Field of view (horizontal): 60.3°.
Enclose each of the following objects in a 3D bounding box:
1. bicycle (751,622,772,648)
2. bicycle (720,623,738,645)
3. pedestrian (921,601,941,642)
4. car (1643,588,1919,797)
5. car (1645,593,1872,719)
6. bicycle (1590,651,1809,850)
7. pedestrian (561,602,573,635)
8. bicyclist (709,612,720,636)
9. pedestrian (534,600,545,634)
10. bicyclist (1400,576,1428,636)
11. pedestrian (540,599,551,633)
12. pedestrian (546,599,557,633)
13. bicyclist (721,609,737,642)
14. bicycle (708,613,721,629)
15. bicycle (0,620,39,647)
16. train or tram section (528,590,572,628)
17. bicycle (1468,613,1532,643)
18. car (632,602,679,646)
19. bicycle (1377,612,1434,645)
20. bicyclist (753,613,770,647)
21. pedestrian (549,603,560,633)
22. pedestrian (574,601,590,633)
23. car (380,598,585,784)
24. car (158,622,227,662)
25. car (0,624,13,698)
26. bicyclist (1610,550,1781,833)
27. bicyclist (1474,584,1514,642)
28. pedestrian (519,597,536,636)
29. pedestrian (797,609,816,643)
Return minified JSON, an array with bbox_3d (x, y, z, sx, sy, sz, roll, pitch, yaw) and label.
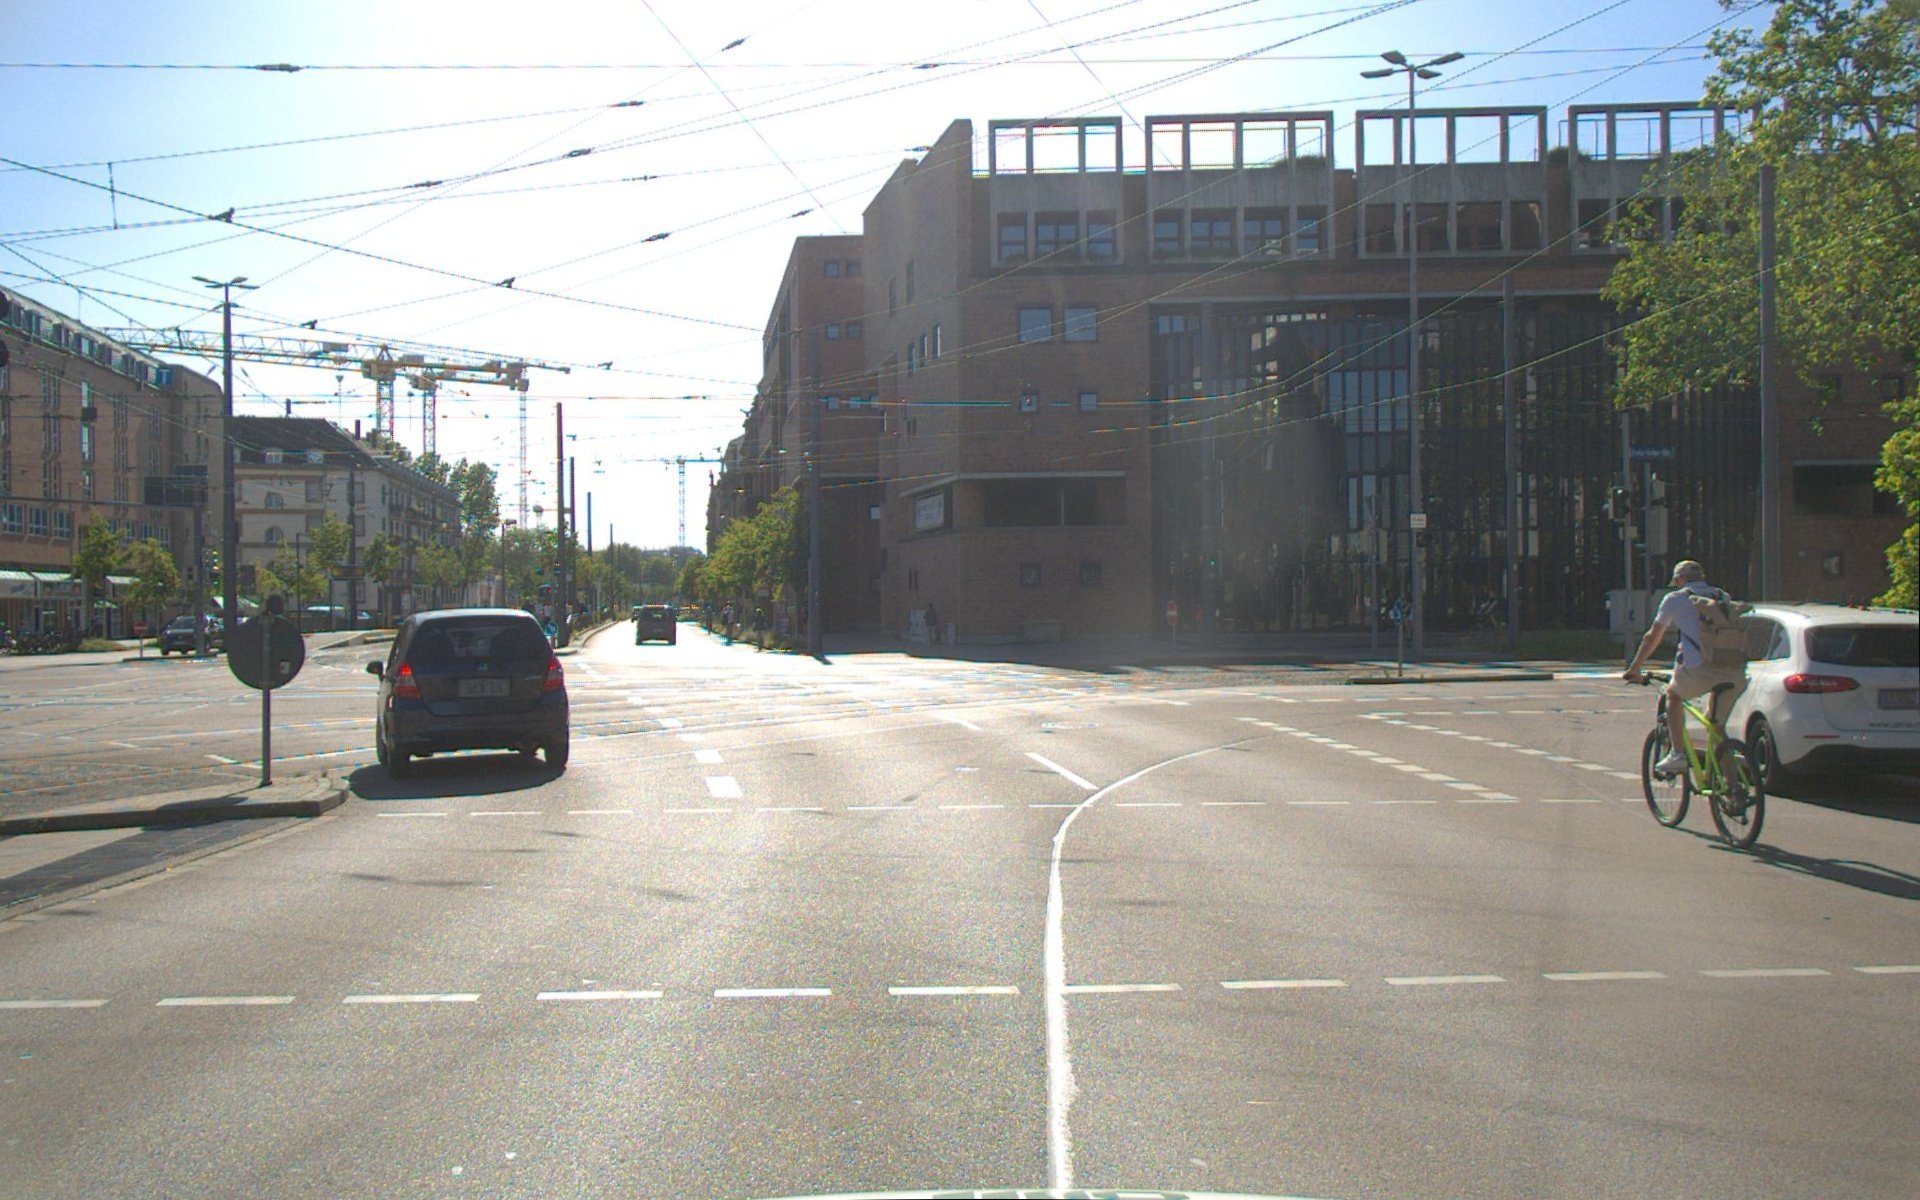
[{"bbox_3d":[-8.174,1.430,68.017,0.592,1.002,2.307,0,-1,-13],"label":"bicycle"},{"bbox_3d":[-11.125,1.624,79.576,0.655,1.002,2.577,0,0,-13],"label":"bicycle"},{"bbox_3d":[-1.163,0.856,66.146,0.607,1.590,0.983,-1,-1,-14],"label":"pedestrian"},{"bbox_3d":[7.719,0.719,14.965,1.865,1.611,4.141,1,0,8],"label":"car"},{"bbox_3d":[11.266,0.726,23.206,1.877,1.568,4.115,1,0,41],"label":"car"},{"bbox_3d":[4.885,0.952,11.052,0.636,1.129,1.758,-1,1,-1],"label":"bicycle"},{"bbox_3d":[-20.136,0.947,84.729,0.529,1.684,0.704,-1,-1,-13],"label":"pedestrian"},{"bbox_3d":[-16.232,1.605,109.293,0.655,1.553,0.704,0,-1,-13],"label":"bicyclist"},{"bbox_3d":[-21.397,0.875,84.233,0.501,1.684,0.759,-1,-1,-13],"label":"pedestrian"},{"bbox_3d":[14.561,0.197,53.053,0.597,1.917,0.647,-1,-1,-20],"label":"bicyclist"},{"bbox_3d":[-22.144,0.852,88.315,0.529,1.805,0.631,-1,-1,-13],"label":"pedestrian"},{"bbox_3d":[-20.797,0.824,84.208,0.529,1.684,0.893,-1,-1,-13],"label":"pedestrian"},{"bbox_3d":[-11.113,1.214,79.539,0.655,1.553,0.704,0,-1,-13],"label":"bicyclist"},{"bbox_3d":[-16.196,1.379,109.178,0.655,1.002,2.577,0,0,-13],"label":"bicycle"},{"bbox_3d":[-47.459,1.677,82.598,2.434,1.333,0.733,-1,0,-2],"label":"bicycle"},{"bbox_3d":[-34.919,0.715,141.298,2.283,3.056,13.134,0,0,-8],"label":"train or tram section"},{"bbox_3d":[15.558,0.790,47.659,1.638,0.820,0.672,-1,0,-10],"label":"bicycle"},{"bbox_3d":[-14.395,1.108,78.069,1.959,1.982,3.986,-1,0,-13],"label":"car"},{"bbox_3d":[14.260,0.922,52.949,1.644,1.012,0.669,-1,-1,-20],"label":"bicycle"},{"bbox_3d":[-8.118,1.215,67.727,0.582,1.359,0.930,0,-1,-13],"label":"bicyclist"},{"bbox_3d":[-21.169,0.928,86.332,0.510,1.578,0.598,-1,-1,-17],"label":"pedestrian"},{"bbox_3d":[-20.930,0.929,91.470,0.709,1.765,0.596,-1,-1,-30],"label":"pedestrian"},{"bbox_3d":[-4.833,0.806,16.444,1.701,1.591,3.655,-1,0,-20],"label":"car"},{"bbox_3d":[-31.512,1.702,68.019,1.581,1.422,3.909,-5,1,-11],"label":"car"},{"bbox_3d":[-21.383,1.261,33.443,4.418,1.474,1.730,-1,0,27],"label":"car"},{"bbox_3d":[4.873,0.571,11.012,0.636,1.783,1.045,-1,1,-2],"label":"bicyclist"},{"bbox_3d":[15.380,0.369,47.621,0.847,1.658,0.670,-1,-1,-10],"label":"bicyclist"},{"bbox_3d":[-19.695,0.744,75.332,0.604,1.698,0.861,-3,1,-14],"label":"pedestrian"},{"bbox_3d":[-8.060,1.353,86.806,0.865,1.747,0.928,-1,-1,-13],"label":"pedestrian"}]
